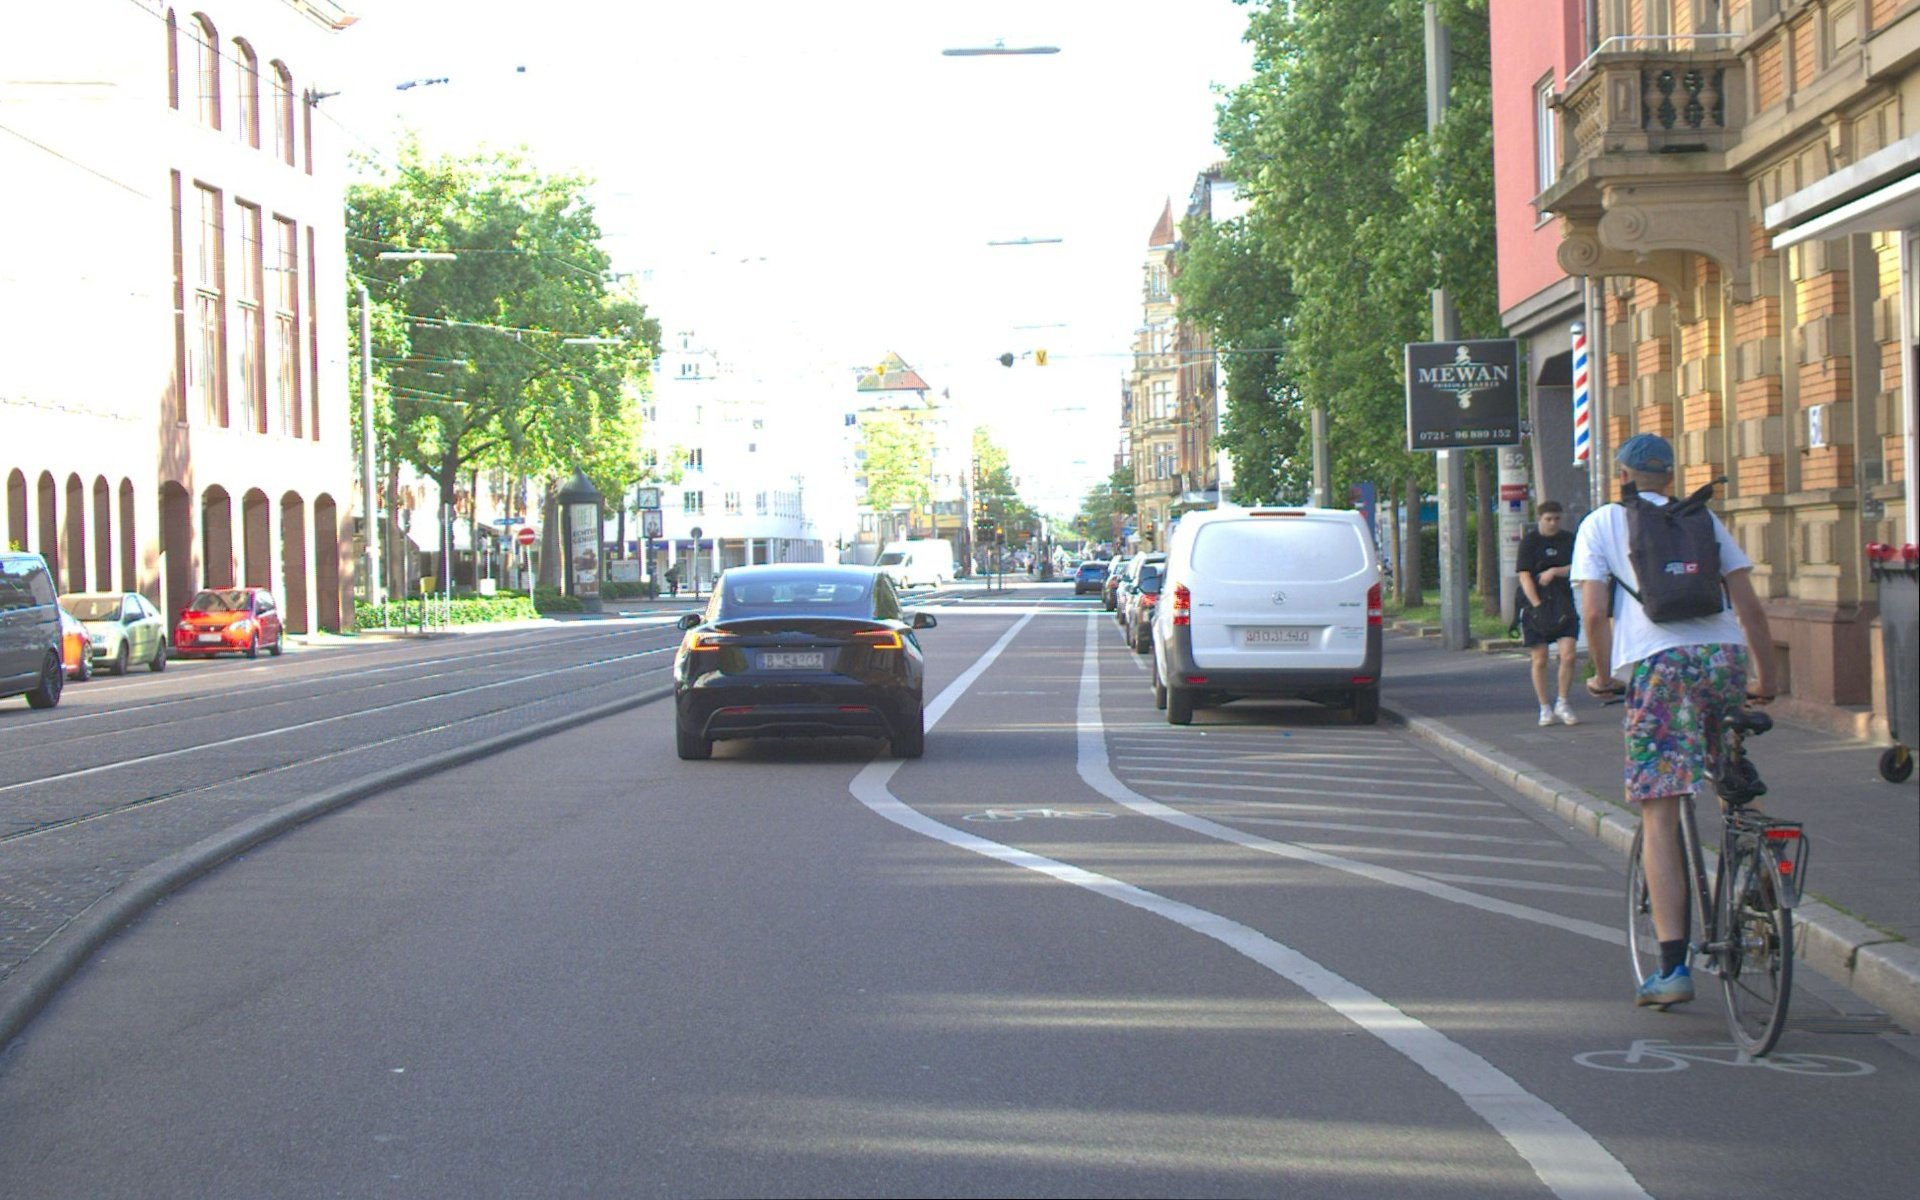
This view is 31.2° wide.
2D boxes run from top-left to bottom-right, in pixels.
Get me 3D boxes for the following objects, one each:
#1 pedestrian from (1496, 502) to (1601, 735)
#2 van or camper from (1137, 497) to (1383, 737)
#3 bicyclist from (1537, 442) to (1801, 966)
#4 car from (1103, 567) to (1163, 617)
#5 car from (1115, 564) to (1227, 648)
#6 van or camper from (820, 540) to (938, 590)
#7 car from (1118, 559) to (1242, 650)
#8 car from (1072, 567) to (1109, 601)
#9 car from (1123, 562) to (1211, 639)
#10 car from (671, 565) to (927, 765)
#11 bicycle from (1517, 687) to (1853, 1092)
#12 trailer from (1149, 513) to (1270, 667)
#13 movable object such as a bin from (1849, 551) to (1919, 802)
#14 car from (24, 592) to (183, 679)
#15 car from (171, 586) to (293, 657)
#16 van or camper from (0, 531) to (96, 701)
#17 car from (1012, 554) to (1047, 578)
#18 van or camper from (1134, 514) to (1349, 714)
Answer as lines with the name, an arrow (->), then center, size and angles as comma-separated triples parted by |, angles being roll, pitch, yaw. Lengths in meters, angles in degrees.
pedestrian -> 4.660, 0.147, 27.274 | 0.672, 1.808, 0.756 | -1, 0, 1
van or camper -> 2.683, 0.146, 31.862 | 1.931, 2.030, 5.475 | 0, 0, 1
bicyclist -> 2.325, 0.327, 11.362 | 0.655, 1.650, 0.927 | -1, 0, 0
car -> 5.152, -0.235, 102.866 | 1.711, 1.452, 4.550 | 0, 0, 2
car -> 3.828, 0.085, 61.868 | 1.750, 1.438, 4.314 | -1, 1, 7
van or camper -> -4.591, -2.012, 196.073 | 6.862, 2.645, 2.145 | -2, 0, -42
car -> 3.625, 0.062, 57.243 | 1.802, 1.430, 4.323 | 1, 0, 1
car -> 5.830, -0.726, 153.293 | 1.594, 1.428, 3.686 | -2, 0, 3
car -> 4.416, -0.017, 73.847 | 1.713, 1.585, 4.065 | 0, 1, 1
car -> -1.163, 0.446, 26.332 | 1.719, 1.400, 3.710 | 0, 1, 1
bicycle -> 2.339, 0.892, 11.332 | 0.647, 1.135, 2.096 | -1, 0, 0
trailer -> 3.551, -0.149, 49.248 | 1.661, 2.109, 3.842 | 0, 0, 3
movable object such as a bin -> 5.493, 0.398, 19.055 | 0.775, 1.343, 1.299 | -1, 0, 1
car -> -15.347, 0.610, 61.821 | 1.669, 1.463, 4.290 | 0, 1, 2
car -> -15.122, 0.421, 71.550 | 1.659, 1.417, 3.620 | 0, 1, 2
van or camper -> -11.838, 0.239, 39.793 | 1.994, 1.933, 4.833 | -4, 0, 5
car -> 4.585, -2.255, 227.374 | 1.993, 1.520, 4.000 | -2, 1, -2
van or camper -> 3.014, 0.124, 37.867 | 1.971, 2.038, 5.331 | 0, 0, 0
